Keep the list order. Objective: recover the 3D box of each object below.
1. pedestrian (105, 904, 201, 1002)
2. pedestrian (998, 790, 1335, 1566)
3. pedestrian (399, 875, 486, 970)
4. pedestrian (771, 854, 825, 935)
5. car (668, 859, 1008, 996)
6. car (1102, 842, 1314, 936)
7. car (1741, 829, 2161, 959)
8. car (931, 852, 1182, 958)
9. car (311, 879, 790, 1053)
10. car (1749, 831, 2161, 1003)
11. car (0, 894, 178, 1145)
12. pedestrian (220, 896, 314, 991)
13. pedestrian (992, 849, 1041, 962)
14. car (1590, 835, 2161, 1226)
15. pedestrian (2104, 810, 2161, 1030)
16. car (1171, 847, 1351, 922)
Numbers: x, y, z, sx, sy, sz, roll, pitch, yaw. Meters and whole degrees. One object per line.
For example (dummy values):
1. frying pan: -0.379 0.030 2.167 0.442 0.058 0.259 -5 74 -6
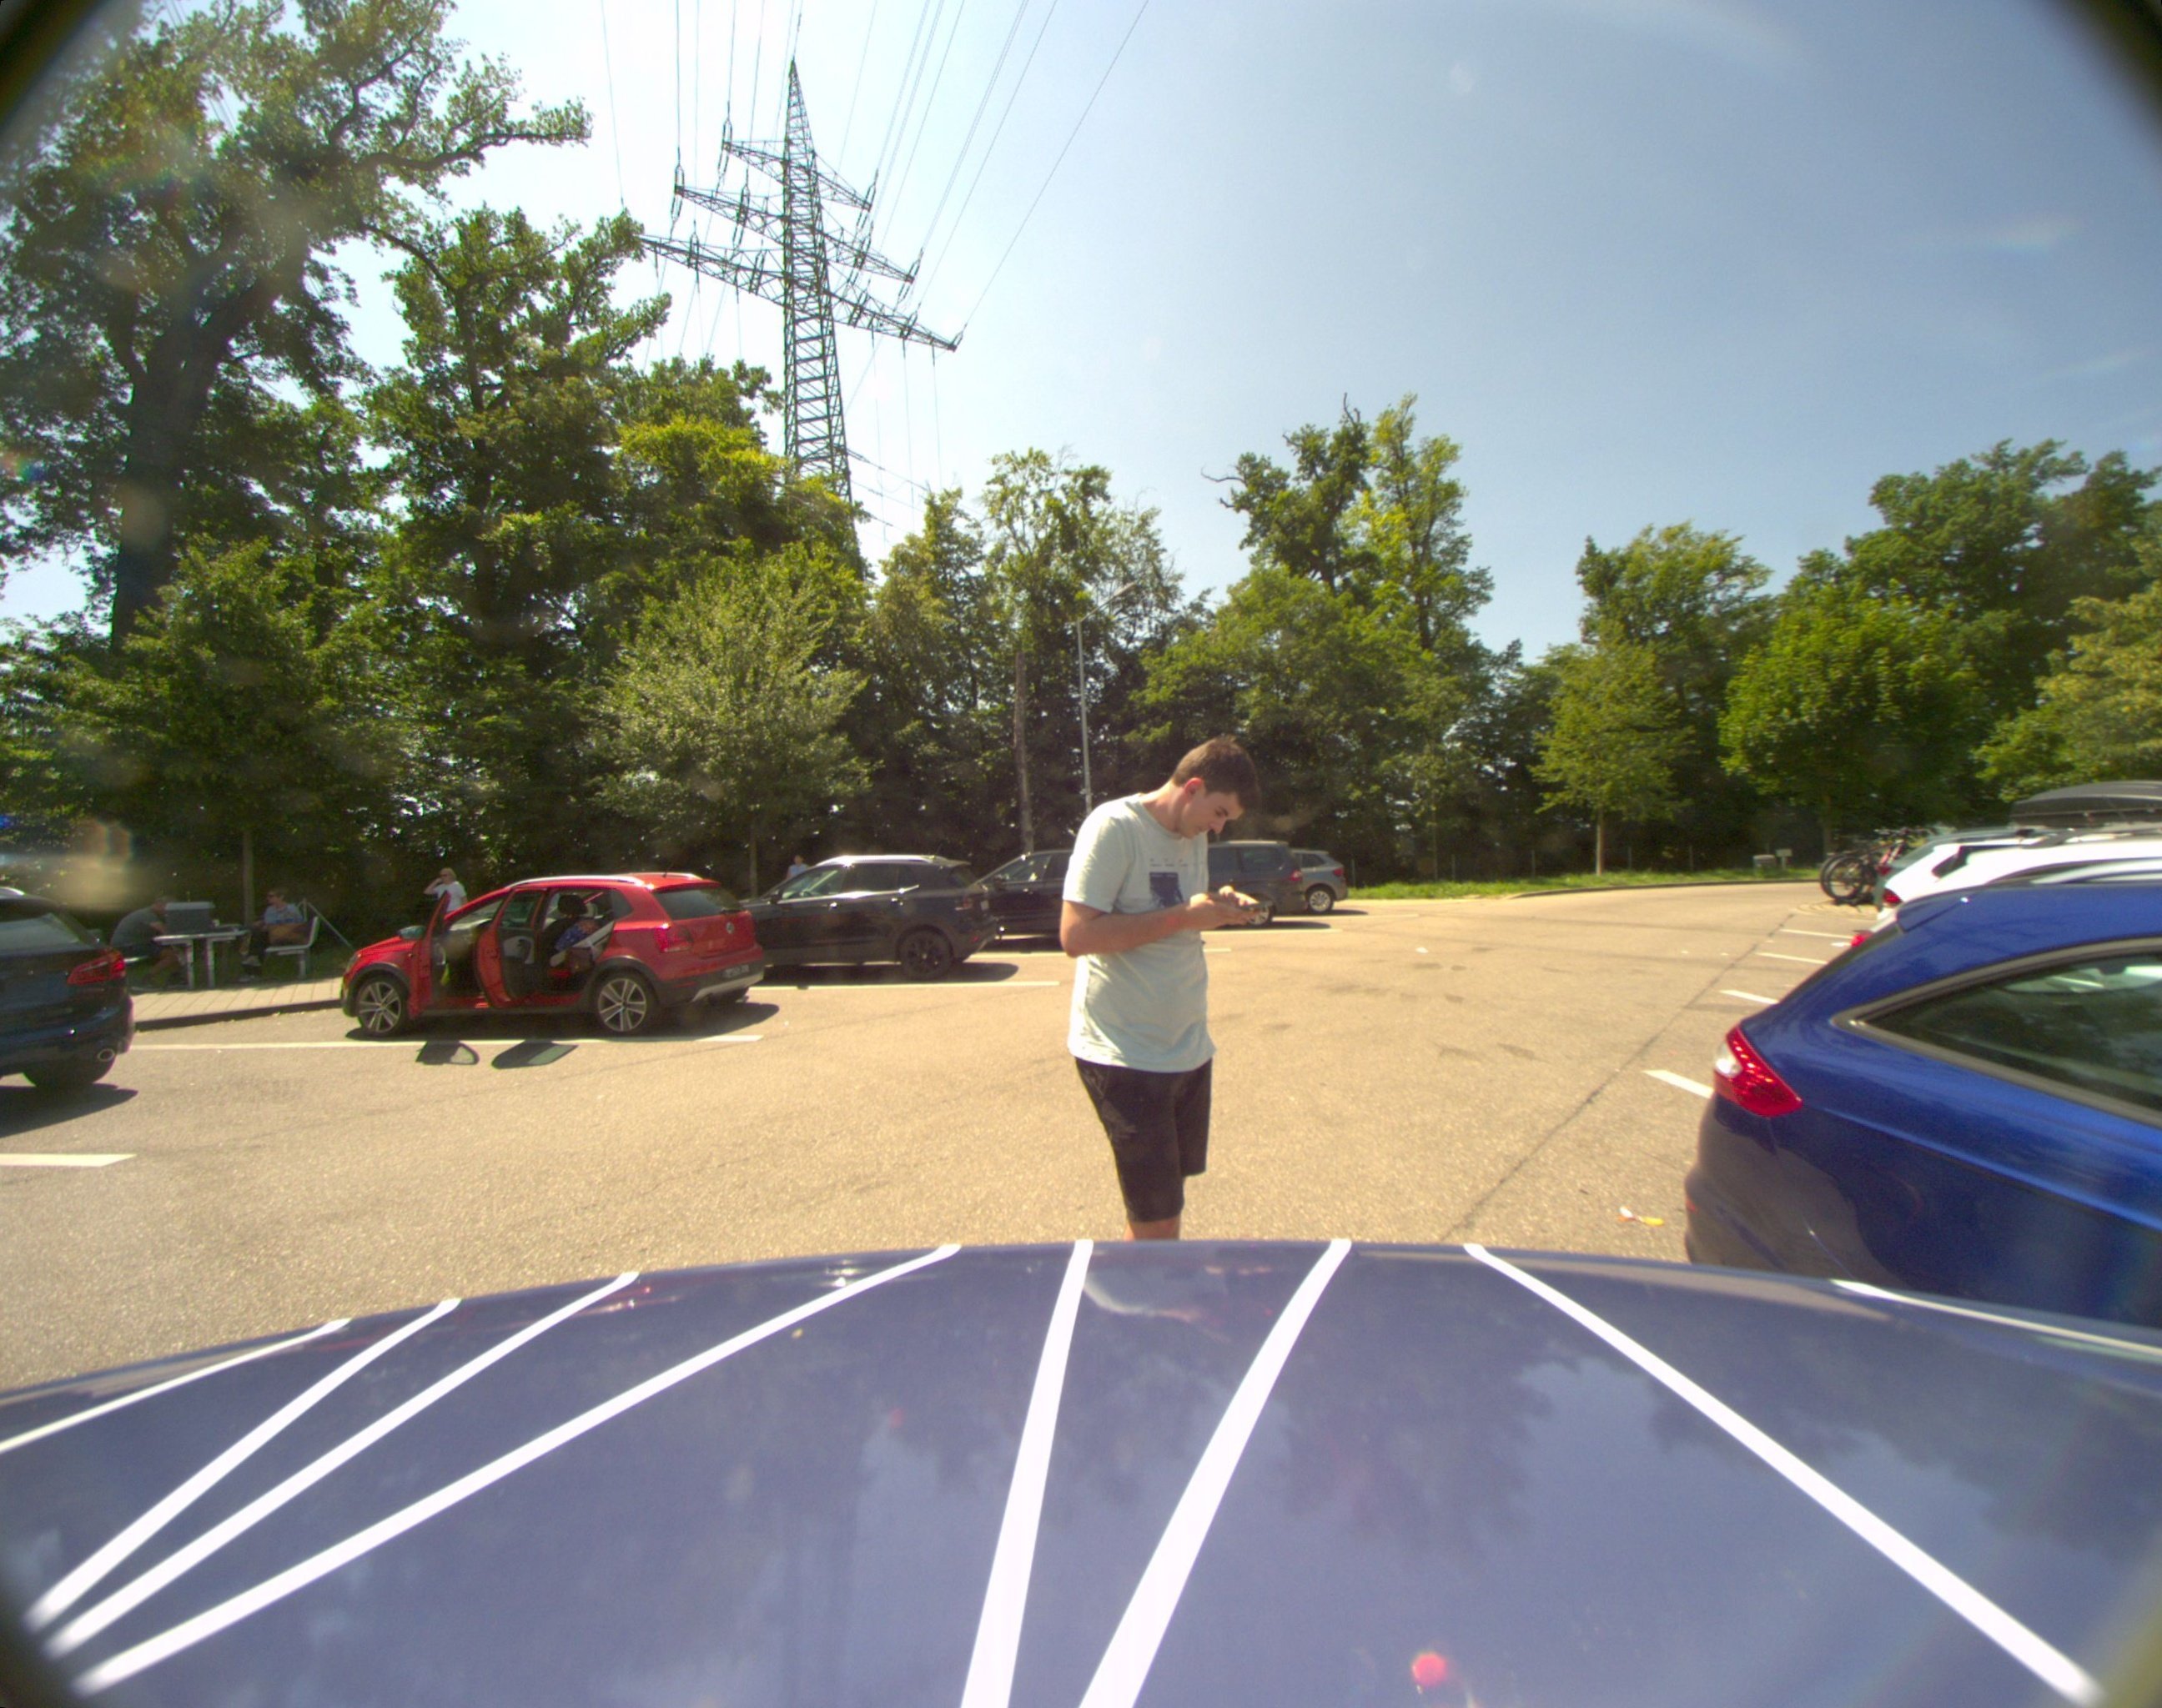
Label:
1. pedestrian: -12.866 1.346 10.544 0.652 1.262 0.672 -2 0 24
2. pedestrian: 0.193 0.724 1.975 0.687 1.699 0.578 -2 0 1
3. pedestrian: -11.228 1.186 13.379 0.774 1.584 0.810 -2 0 9
4. pedestrian: -5.796 0.816 15.597 0.715 1.584 0.810 -2 0 2
5. car: -3.145 0.934 10.387 3.966 1.582 1.841 -2 0 3
6. car: 2.511 0.693 15.456 3.964 1.678 1.781 -2 0 7
7. car: 12.366 0.475 10.946 1.779 1.456 4.470 -2 -1 0
8. car: -0.325 0.836 12.965 3.964 1.582 1.781 -2 0 8
9. car: -5.193 1.067 7.728 3.704 1.448 1.781 -2 0 7
10. car: 10.064 0.531 8.162 1.779 1.456 4.470 -2 -1 0
11. car: -8.919 1.151 5.011 4.011 1.558 1.846 -2 0 6
12. pedestrian: -11.846 1.278 11.063 0.828 1.287 0.672 -2 0 24
13. pedestrian: -1.025 0.806 12.131 0.660 1.745 0.636 -2 0 1
14. car: 4.931 0.654 3.743 1.779 1.456 4.470 -2 -1 0
15. pedestrian: 8.117 0.465 5.377 0.672 1.592 0.759 -2 0 1
16. car: 4.181 0.710 18.208 3.964 1.577 1.781 -2 0 7
